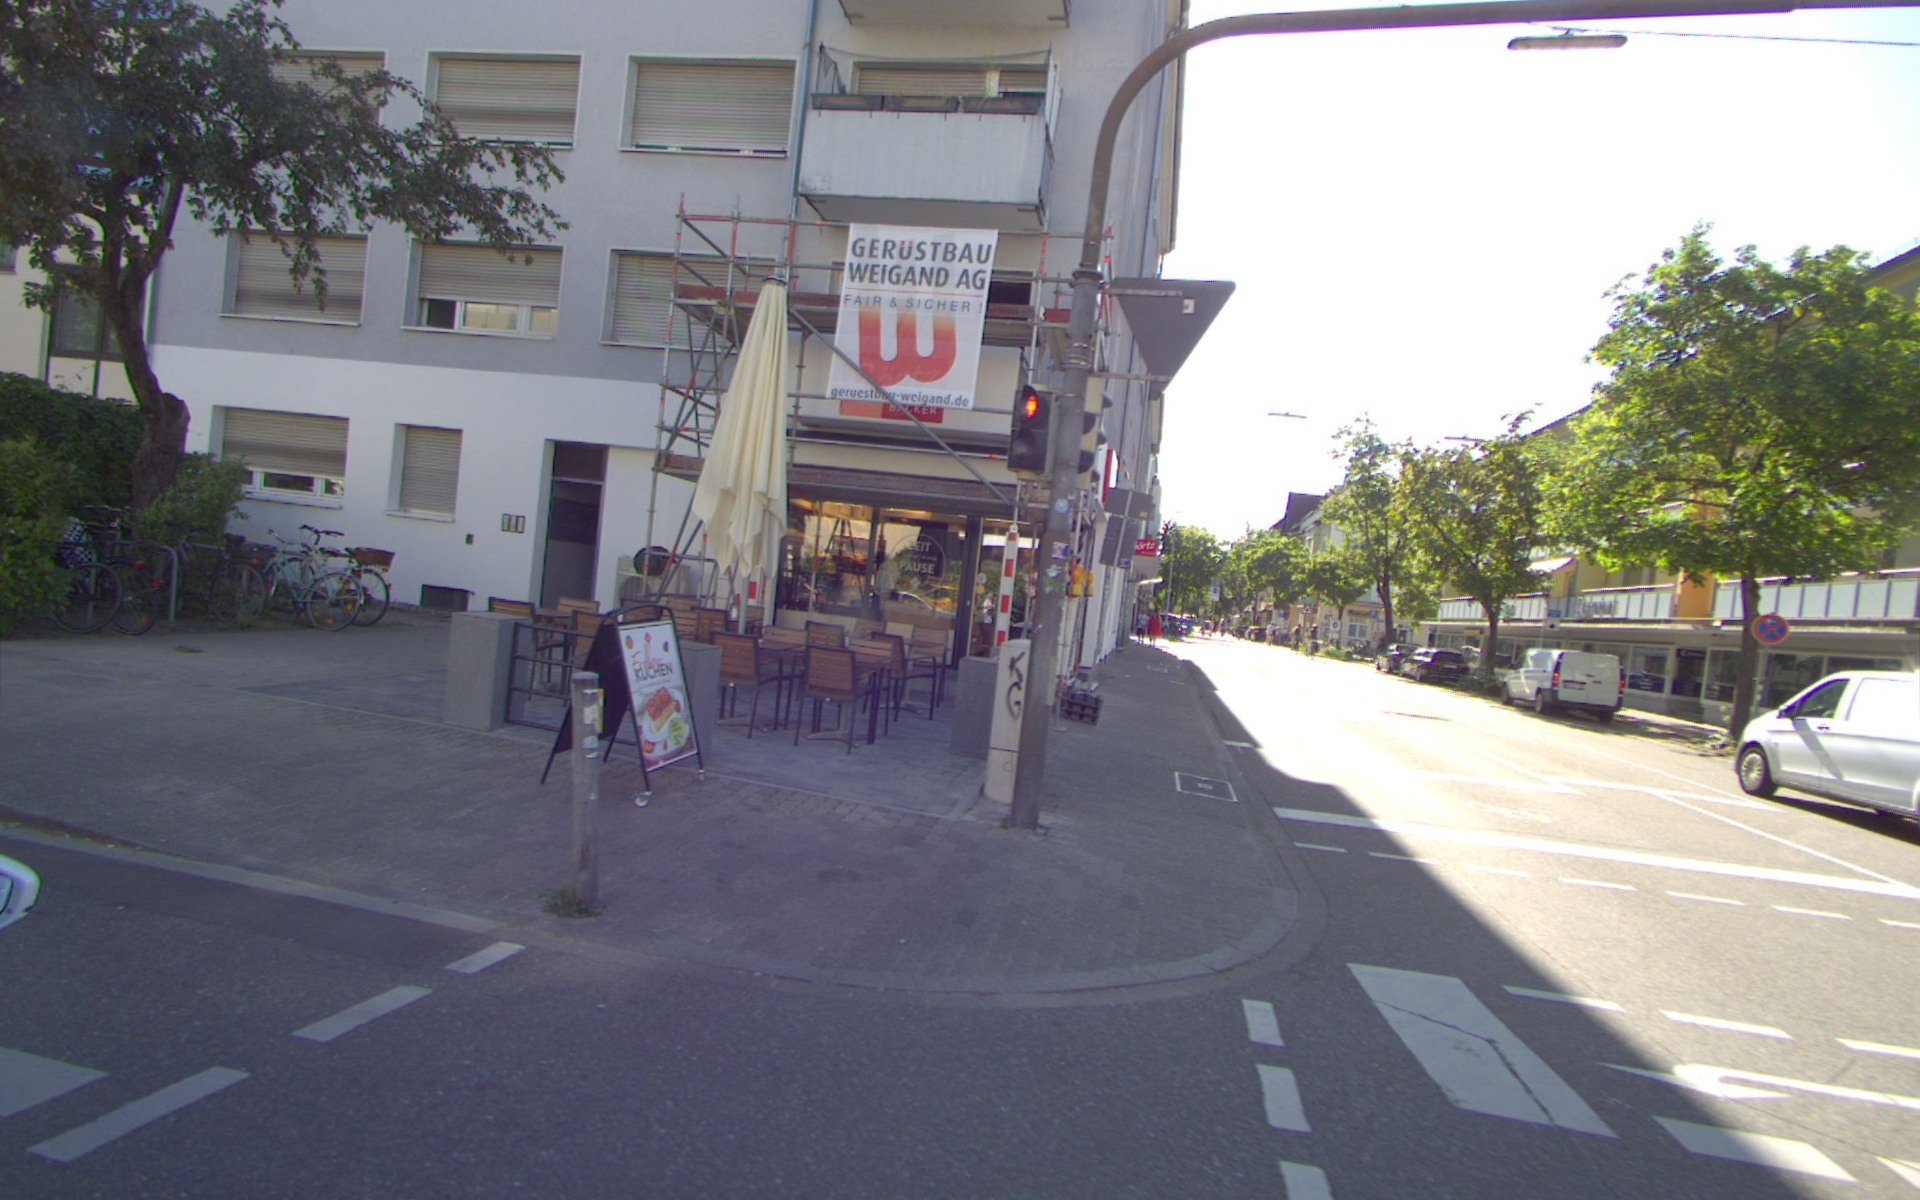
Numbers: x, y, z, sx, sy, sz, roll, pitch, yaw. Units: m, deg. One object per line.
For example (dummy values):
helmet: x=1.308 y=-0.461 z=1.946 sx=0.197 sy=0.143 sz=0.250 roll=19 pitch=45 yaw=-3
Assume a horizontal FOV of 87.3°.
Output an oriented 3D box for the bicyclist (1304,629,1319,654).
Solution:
bicyclist: x=18.775 y=2.205 z=53.731 sx=0.538 sy=1.278 sz=0.802 roll=7 pitch=1 yaw=12

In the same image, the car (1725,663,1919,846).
car: x=11.583 y=1.871 z=11.798 sx=1.937 sy=1.833 sz=4.834 roll=7 pitch=0 yaw=9

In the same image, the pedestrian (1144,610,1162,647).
pedestrian: x=8.617 y=1.276 z=44.916 sx=0.568 sy=1.603 sz=0.708 roll=6 pitch=2 yaw=5

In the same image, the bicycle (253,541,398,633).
bicycle: x=-7.902 y=-0.162 z=12.537 sx=1.563 sy=0.952 sz=0.512 roll=6 pitch=2 yaw=13

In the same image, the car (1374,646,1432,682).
car: x=20.873 y=2.971 z=47.519 sx=1.685 sy=1.331 sz=3.381 roll=7 pitch=1 yaw=11

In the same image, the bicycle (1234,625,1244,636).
bicycle: x=25.075 y=2.753 z=90.397 sx=0.680 sy=0.877 sz=1.876 roll=7 pitch=1 yaw=12

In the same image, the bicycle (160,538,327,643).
bicycle: x=-7.776 y=-0.108 z=10.926 sx=1.563 sy=0.952 sz=0.512 roll=6 pitch=2 yaw=13

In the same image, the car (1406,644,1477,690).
car: x=19.850 y=2.729 z=41.611 sx=1.685 sy=1.502 sz=3.381 roll=7 pitch=1 yaw=11

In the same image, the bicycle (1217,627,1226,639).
bicycle: x=24.470 y=3.098 z=94.230 sx=0.622 sy=1.054 sz=1.795 roll=6 pitch=1 yaw=10

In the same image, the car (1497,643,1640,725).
car: x=17.771 y=2.364 z=29.654 sx=2.013 sy=1.870 sz=4.584 roll=7 pitch=1 yaw=12

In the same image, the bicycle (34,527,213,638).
bicycle: x=-8.519 y=-0.178 z=10.251 sx=1.563 sy=0.952 sz=0.512 roll=6 pitch=2 yaw=13

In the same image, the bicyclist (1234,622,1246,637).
bicyclist: x=26.843 y=2.848 z=96.559 sx=0.842 sy=1.331 sz=1.210 roll=9 pitch=2 yaw=10

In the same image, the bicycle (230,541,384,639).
bicycle: x=-7.642 y=-0.118 z=11.779 sx=1.563 sy=0.952 sz=0.512 roll=6 pitch=2 yaw=13

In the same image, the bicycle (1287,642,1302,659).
bicycle: x=20.036 y=3.033 z=60.214 sx=0.538 sy=0.877 sz=1.876 roll=7 pitch=1 yaw=12

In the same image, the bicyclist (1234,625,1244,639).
bicyclist: x=25.096 y=2.907 z=90.566 sx=0.681 sy=1.209 sz=0.595 roll=7 pitch=2 yaw=12

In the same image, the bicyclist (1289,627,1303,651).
bicyclist: x=20.107 y=2.319 z=60.187 sx=0.538 sy=1.400 sz=0.823 roll=7 pitch=2 yaw=12

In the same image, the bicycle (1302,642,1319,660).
bicycle: x=18.737 y=2.719 z=53.855 sx=0.538 sy=0.877 sz=1.876 roll=7 pitch=1 yaw=12

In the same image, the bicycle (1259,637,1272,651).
bicycle: x=21.028 y=3.023 z=69.335 sx=0.610 sy=0.877 sz=1.876 roll=7 pitch=1 yaw=12

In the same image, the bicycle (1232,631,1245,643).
bicycle: x=26.800 y=3.546 z=96.897 sx=0.842 sy=0.957 sz=2.308 roll=9 pitch=1 yaw=10

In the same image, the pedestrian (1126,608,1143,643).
pedestrian: x=7.830 y=1.153 z=45.213 sx=0.568 sy=1.486 sz=0.702 roll=6 pitch=2 yaw=5

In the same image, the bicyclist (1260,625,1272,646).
bicyclist: x=21.075 y=2.421 z=69.231 sx=0.579 sy=1.400 sz=0.823 roll=7 pitch=2 yaw=12

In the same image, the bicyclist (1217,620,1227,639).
bicyclist: x=24.422 y=2.743 z=93.852 sx=0.622 sy=1.690 sz=1.050 roll=6 pitch=1 yaw=10

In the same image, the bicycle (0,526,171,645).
bicycle: x=-8.395 y=-0.141 z=9.549 sx=1.563 sy=0.952 sz=0.512 roll=6 pitch=2 yaw=13
